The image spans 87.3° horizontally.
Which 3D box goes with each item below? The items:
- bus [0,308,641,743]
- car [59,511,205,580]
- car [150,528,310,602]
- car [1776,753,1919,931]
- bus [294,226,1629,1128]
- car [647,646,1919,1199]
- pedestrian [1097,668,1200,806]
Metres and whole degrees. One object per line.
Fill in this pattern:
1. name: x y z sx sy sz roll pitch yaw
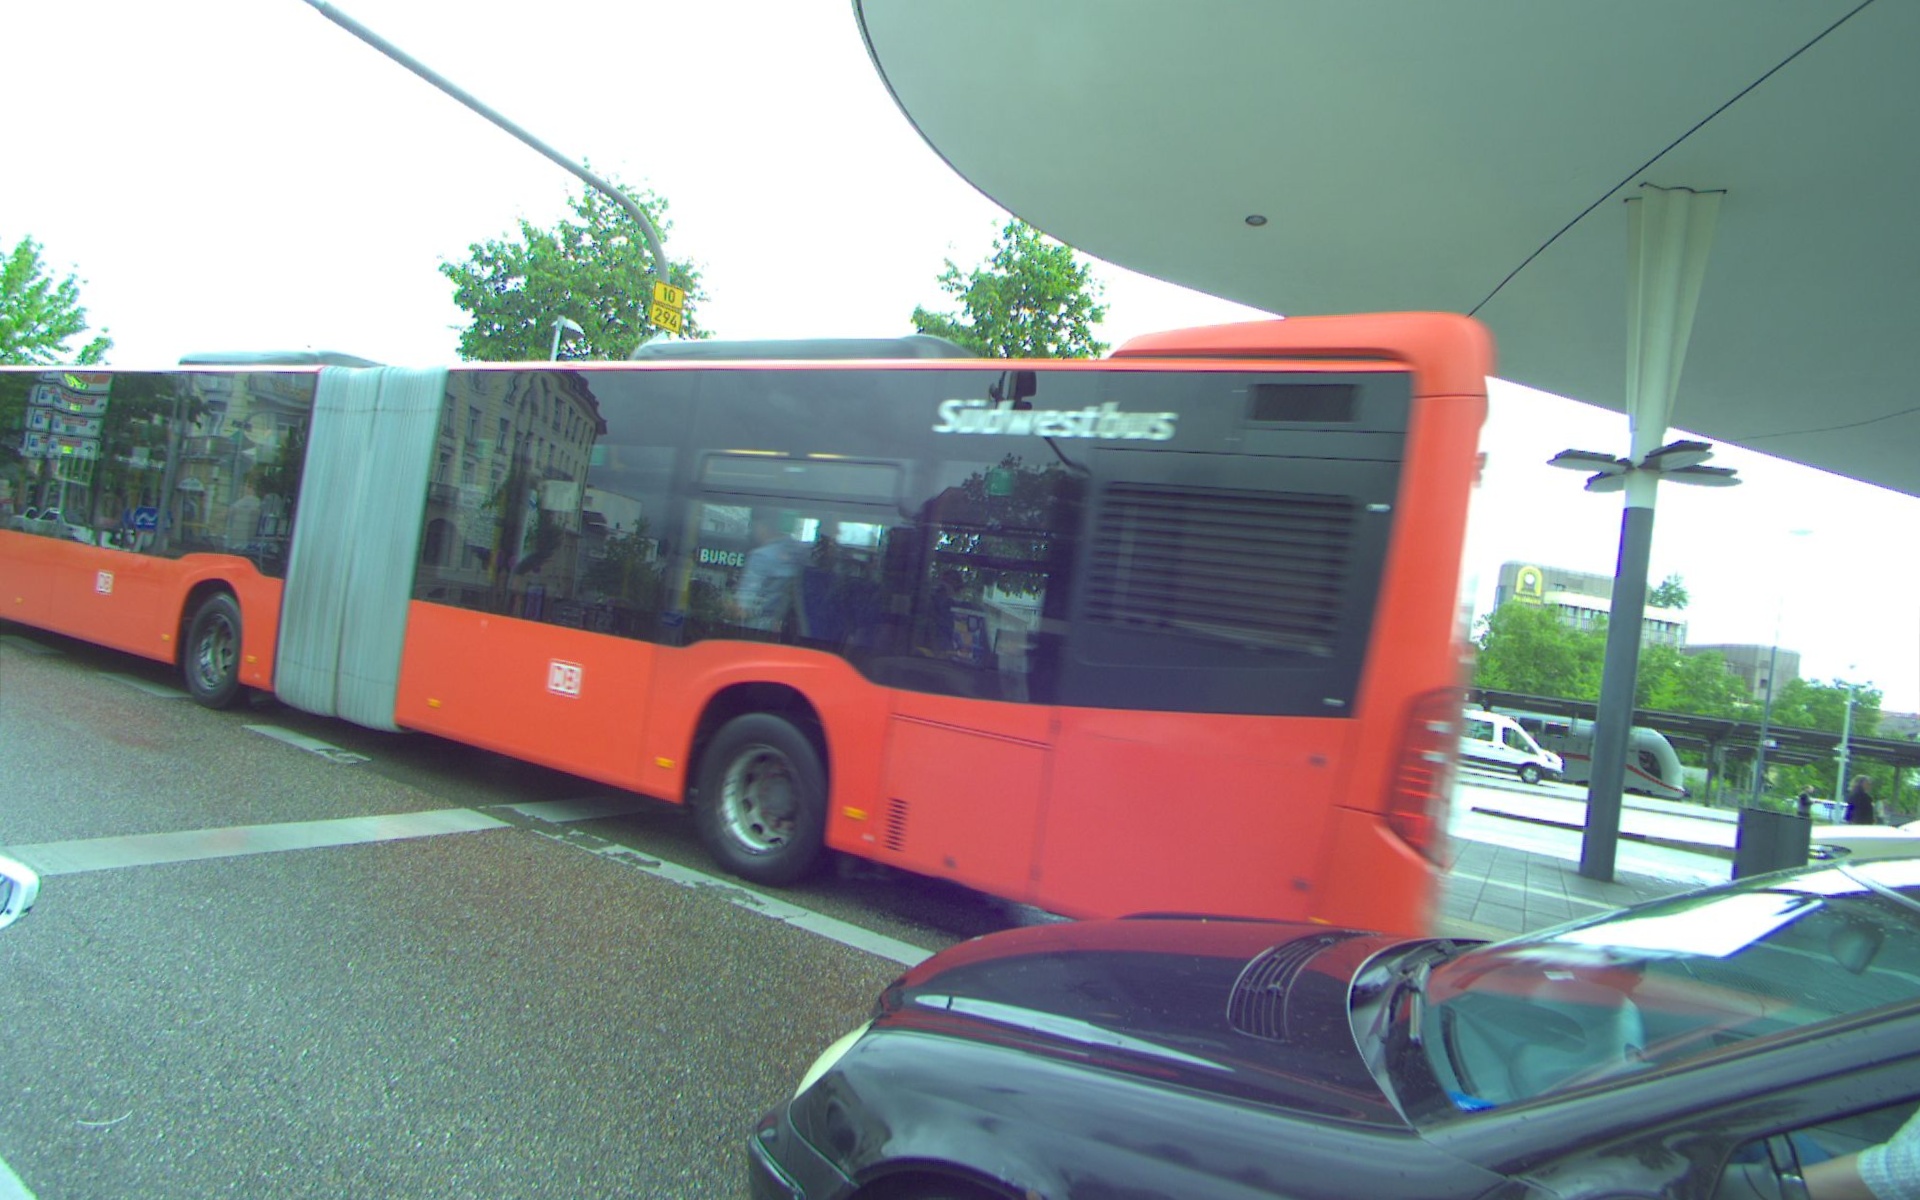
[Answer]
1. bus: -8.314 -0.922 10.967 10.019 3.210 2.751 7 -2 29
2. car: -26.128 -1.725 31.698 4.662 1.542 1.918 7 -2 30
3. car: -20.619 -0.996 28.380 4.588 1.468 1.851 7 -2 30
4. car: 11.479 2.823 10.414 4.360 1.665 1.807 7 -5 32
5. bus: -0.628 -0.001 6.723 7.981 3.210 2.750 7 -2 29
6. car: 1.732 1.142 1.508 4.363 1.493 1.753 5 -7 32
7. pedestrian: 2.106 1.515 11.191 0.753 1.374 0.738 7 -3 31
